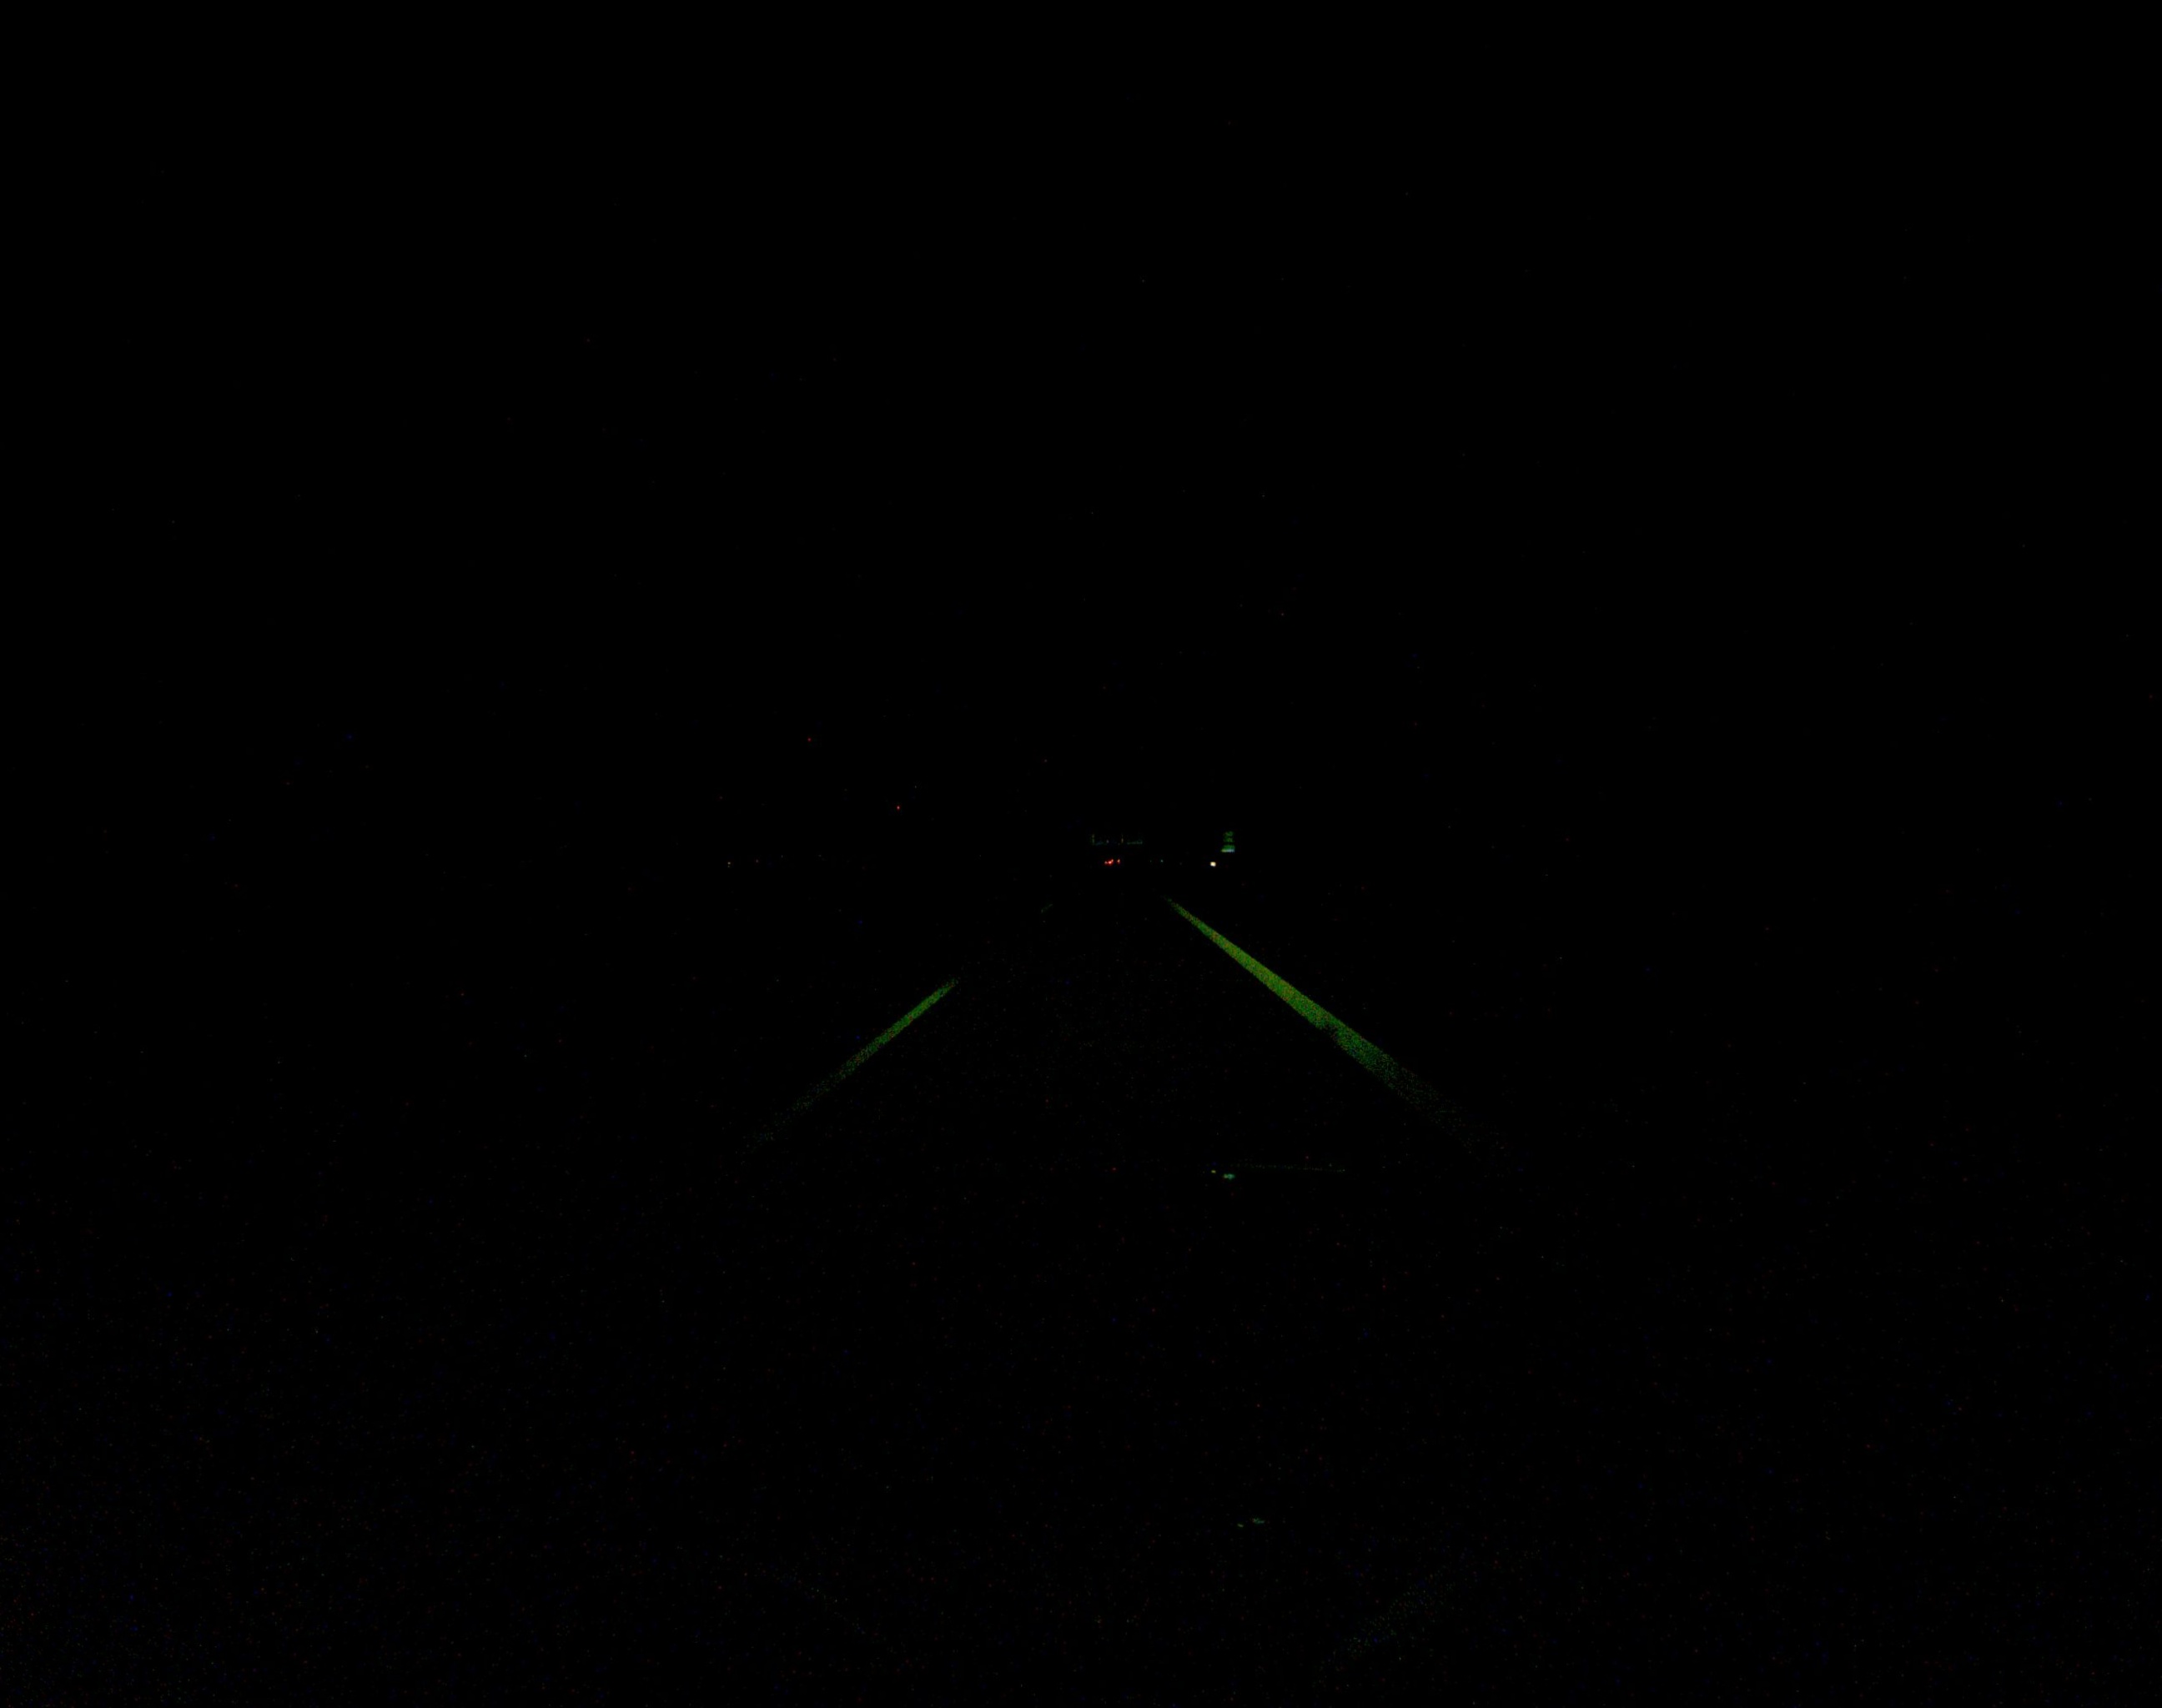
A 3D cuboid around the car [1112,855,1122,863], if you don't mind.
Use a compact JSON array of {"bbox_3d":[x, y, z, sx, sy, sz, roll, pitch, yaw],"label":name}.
[{"bbox_3d":[10.650,1.461,242.272,2.498,2.314,4.979,-1,-1,6],"label":"car"}]
